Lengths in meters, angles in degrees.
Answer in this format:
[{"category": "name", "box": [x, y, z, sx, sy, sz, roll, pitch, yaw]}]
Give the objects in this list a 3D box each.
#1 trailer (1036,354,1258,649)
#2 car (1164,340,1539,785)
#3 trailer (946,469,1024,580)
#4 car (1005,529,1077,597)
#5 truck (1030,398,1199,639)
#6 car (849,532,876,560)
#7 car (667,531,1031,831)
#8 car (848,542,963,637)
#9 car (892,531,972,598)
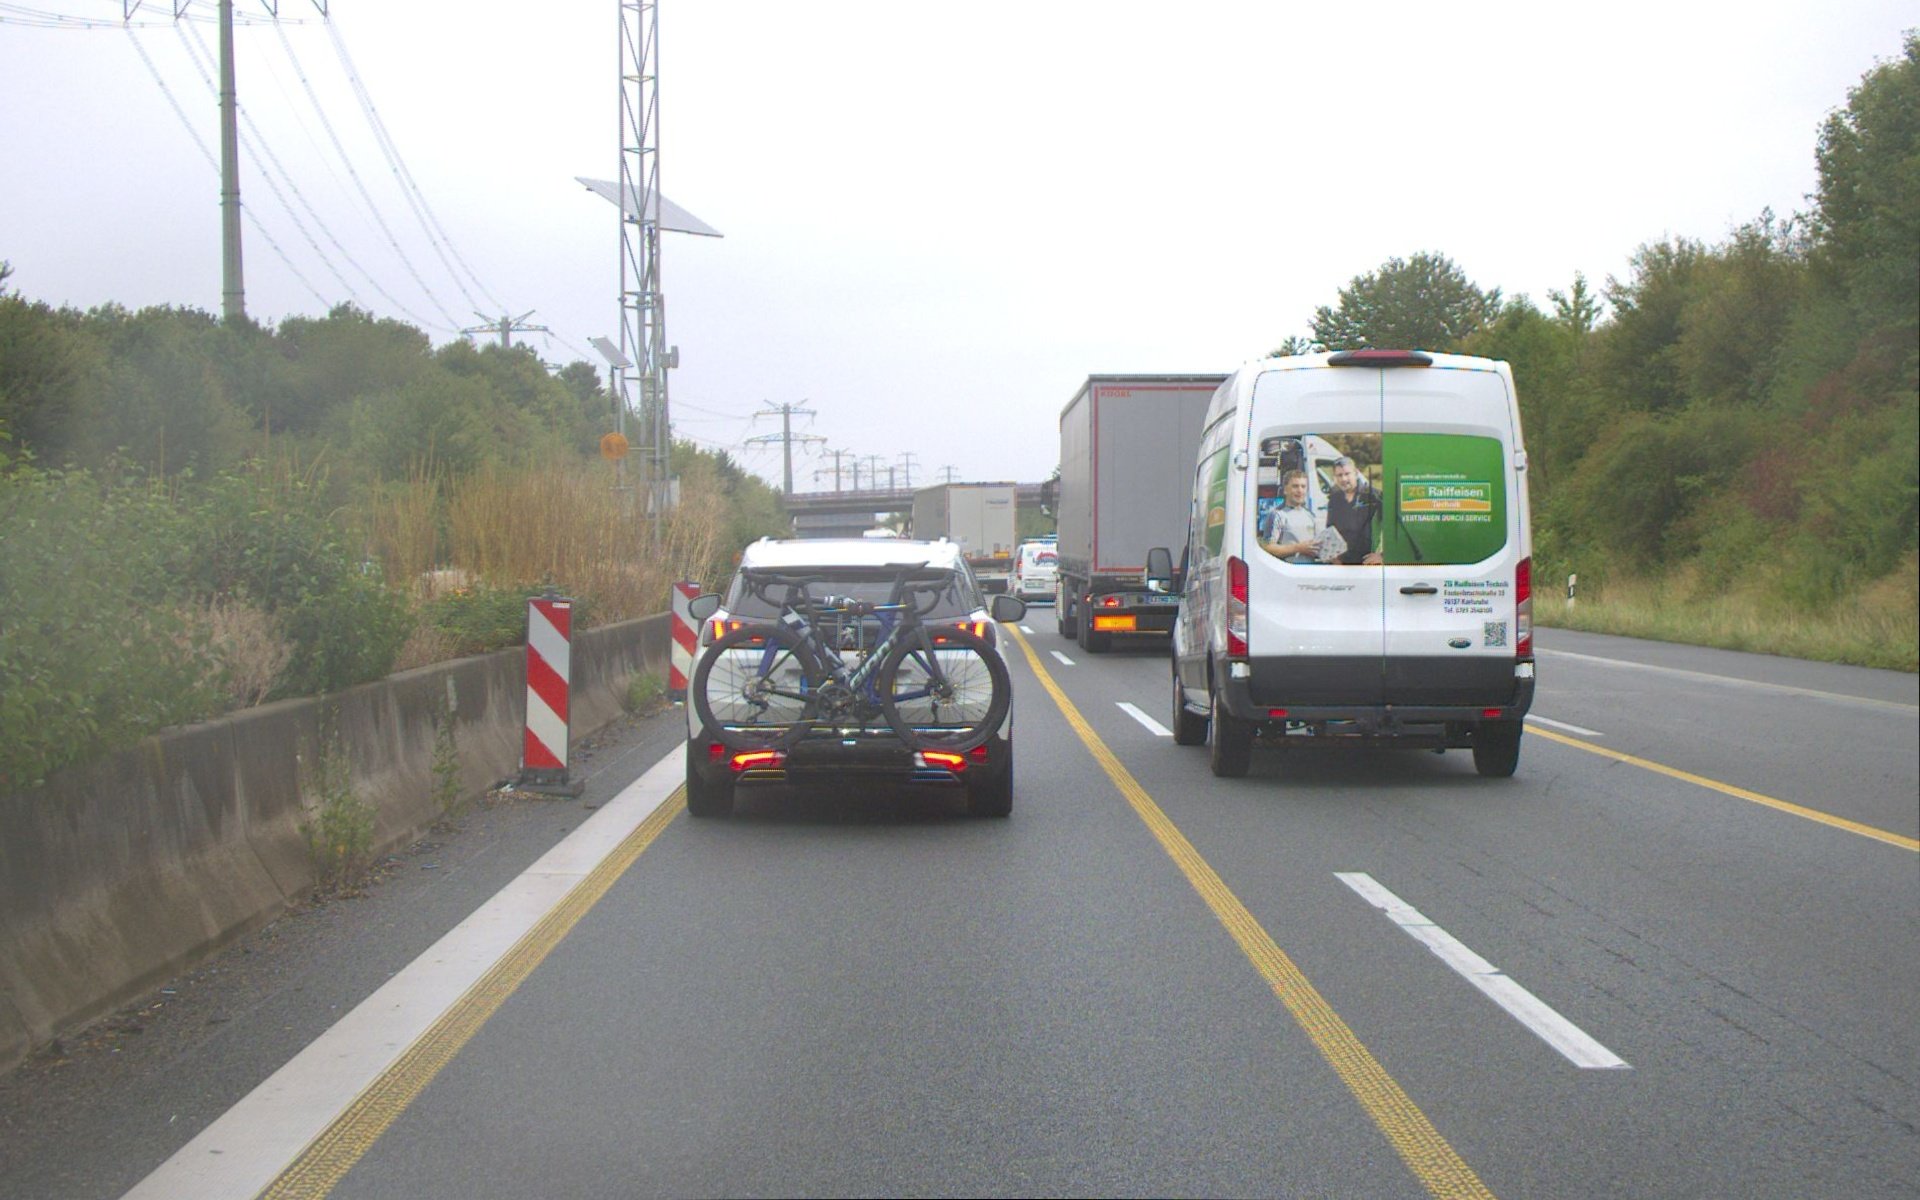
[{"category": "trailer", "box": [2.770, -1.486, 55.036, 2.706, 4.132, 13.733, 0, 1, 0]}, {"category": "car", "box": [2.617, -0.281, 24.378, 1.993, 2.773, 5.756, 0, 1, 0]}, {"category": "trailer", "box": [0.868, -2.859, 131.892, 2.692, 4.062, 13.634, 0, 1, -1]}, {"category": "car", "box": [2.210, -1.037, 95.107, 1.829, 1.833, 4.656, 0, 1, -1]}, {"category": "truck", "box": [2.711, -1.438, 61.785, 2.706, 4.124, 5.691, 0, 1, -1]}, {"category": "car", "box": [-7.216, -4.037, 255.630, 1.931, 1.966, 4.001, 0, 2, -1]}, {"category": "car", "box": [-0.599, 0.375, 19.914, 1.850, 1.525, 4.769, 0, 1, -1]}, {"category": "car", "box": [-0.905, -0.207, 57.416, 1.850, 1.525, 4.000, 0, 1, -1]}, {"category": "car", "box": [-0.671, -0.849, 80.868, 1.850, 1.525, 4.000, 0, 1, -1]}]
